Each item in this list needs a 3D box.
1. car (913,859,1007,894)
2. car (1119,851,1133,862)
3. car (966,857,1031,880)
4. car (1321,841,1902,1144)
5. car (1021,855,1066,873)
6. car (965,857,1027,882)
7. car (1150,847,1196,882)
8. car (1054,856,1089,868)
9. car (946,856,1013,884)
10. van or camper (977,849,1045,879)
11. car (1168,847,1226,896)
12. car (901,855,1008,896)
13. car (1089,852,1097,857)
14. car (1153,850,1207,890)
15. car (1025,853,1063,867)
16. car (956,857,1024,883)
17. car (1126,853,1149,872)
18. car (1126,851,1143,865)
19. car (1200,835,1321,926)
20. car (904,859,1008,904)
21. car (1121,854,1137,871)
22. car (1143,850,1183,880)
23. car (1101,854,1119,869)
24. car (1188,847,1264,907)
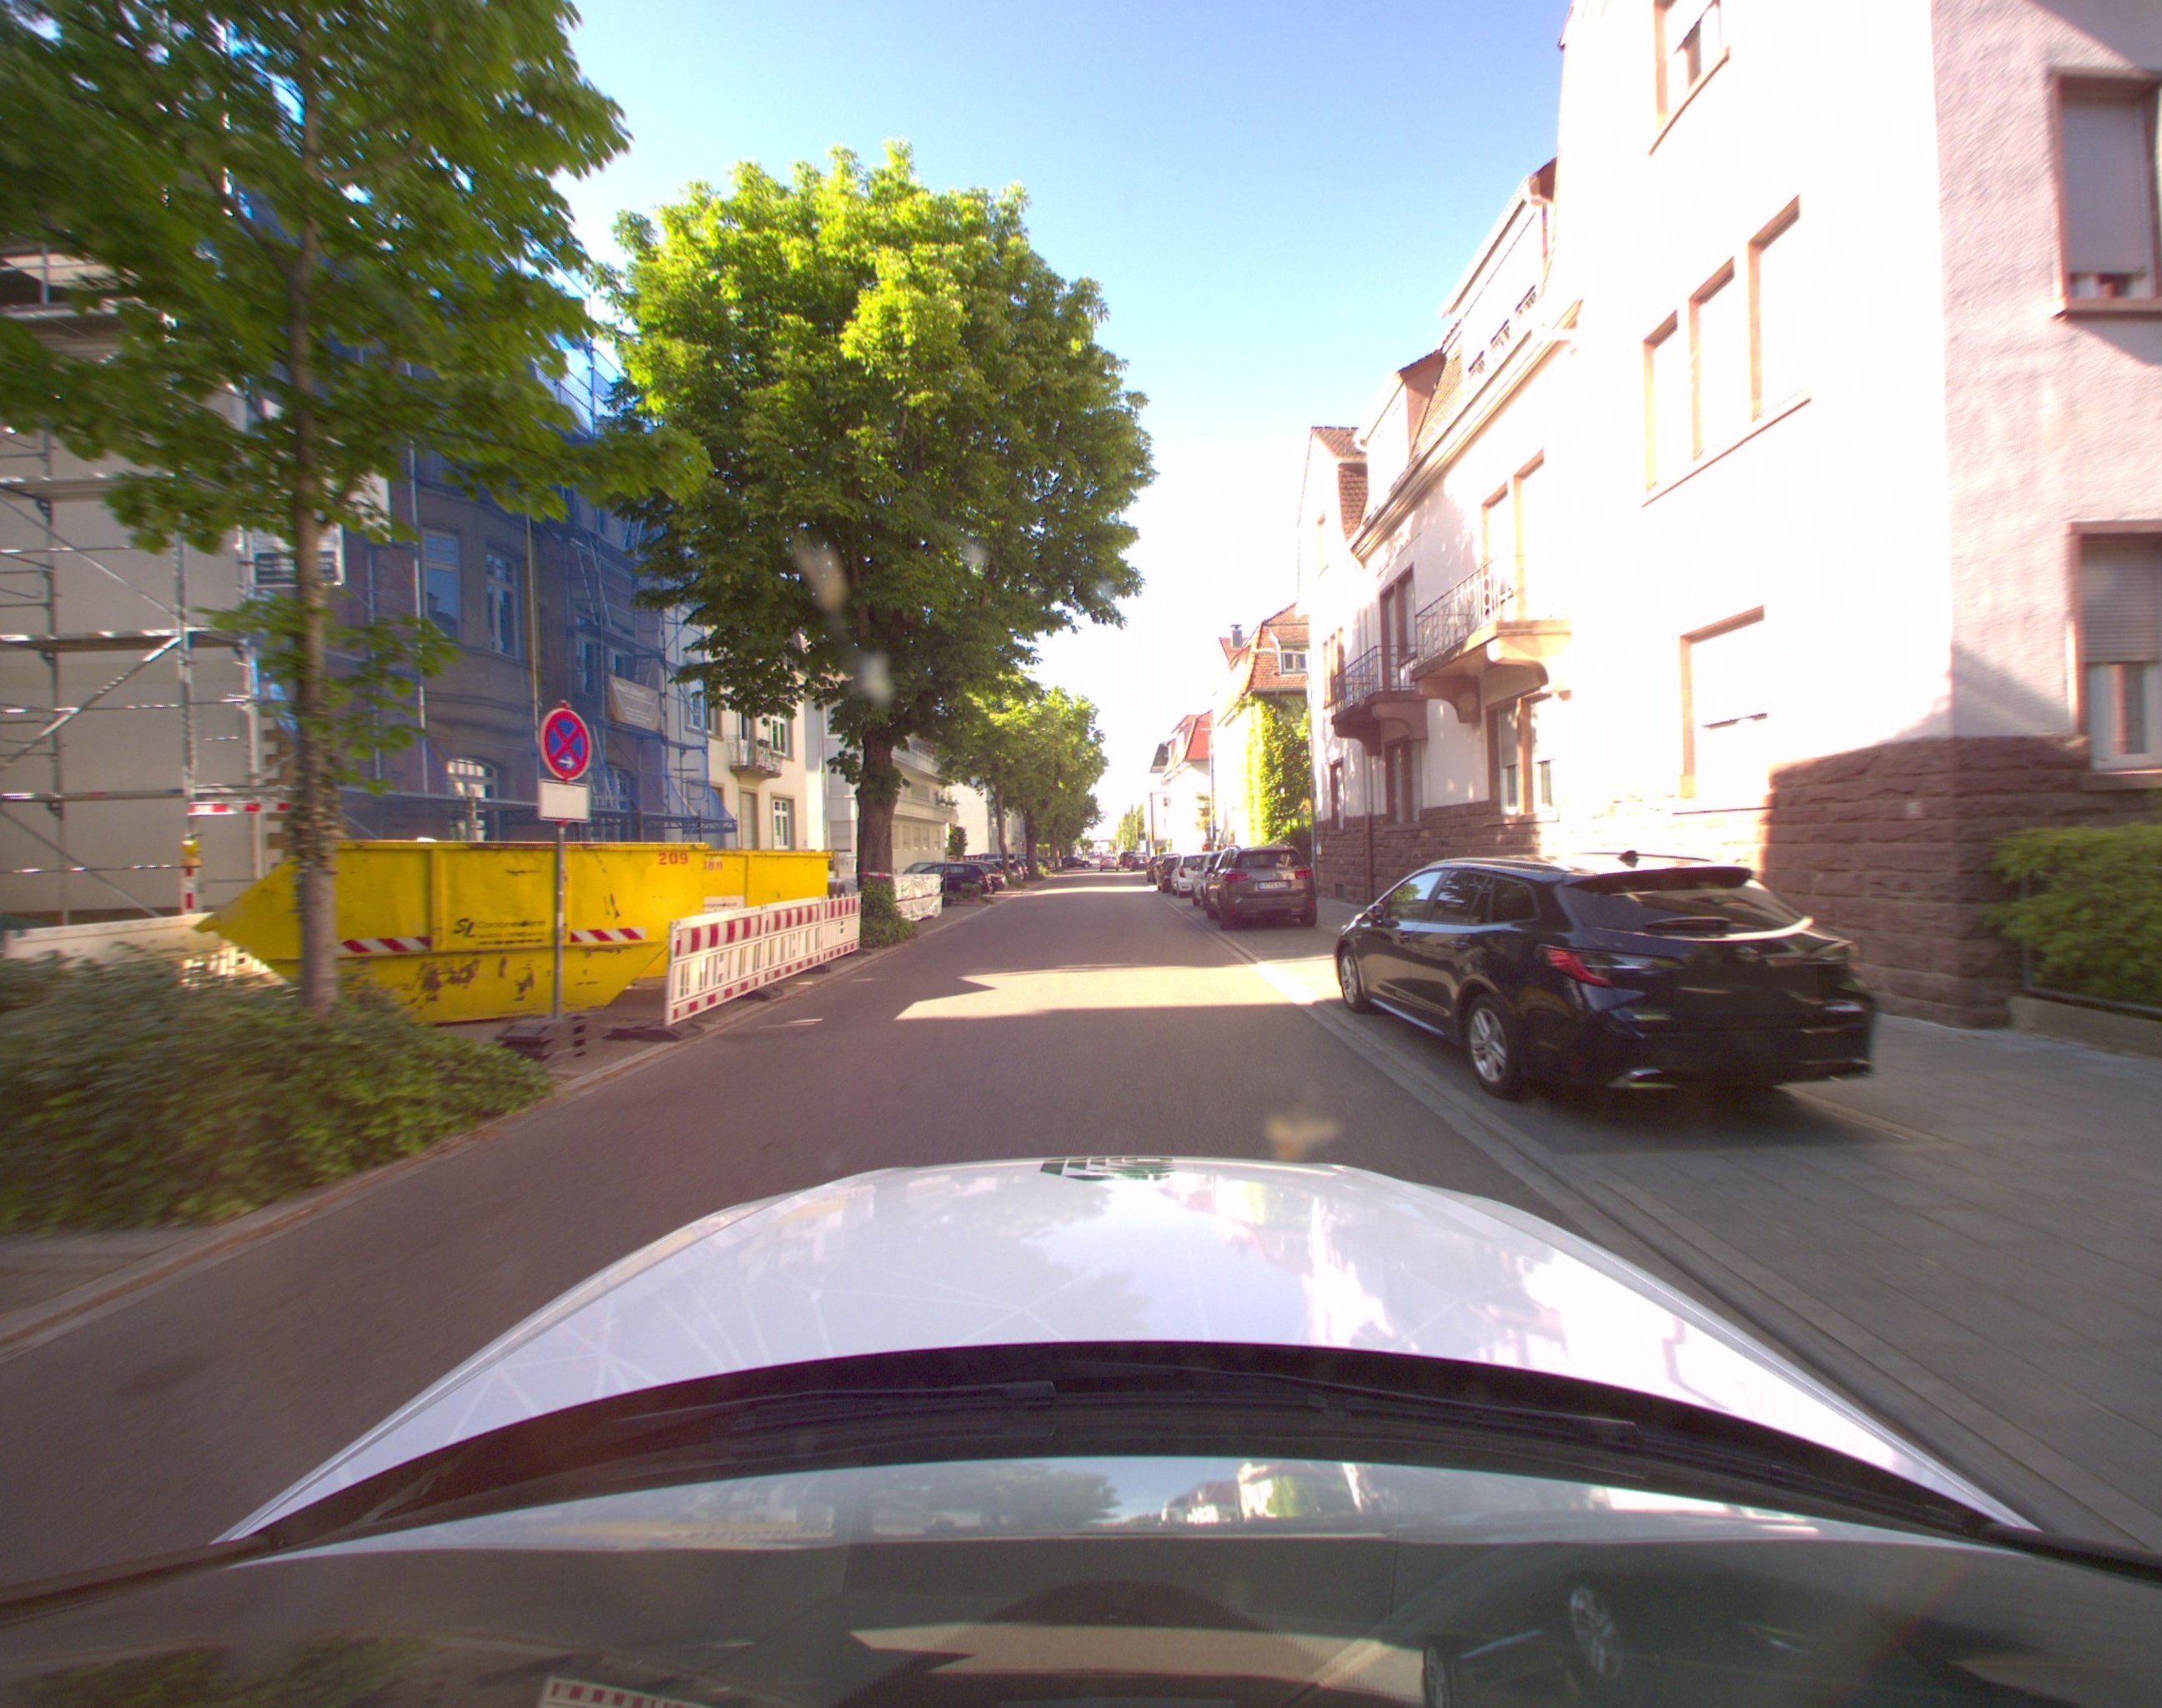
[{"bbox_3d":[-5.767,1.056,39.110,4.174,1.441,1.713,-3,0,0],"label":"car"},{"bbox_3d":[6.358,0.354,115.686,1.730,1.531,4.180,-2,0,2],"label":"car"},{"bbox_3d":[-5.201,0.915,51.472,3.910,1.414,1.715,0,1,-1],"label":"car"},{"bbox_3d":[3.261,0.680,6.252,1.637,1.454,4.505,-1,0,2],"label":"car"},{"bbox_3d":[-3.377,0.859,73.932,3.973,1.468,1.697,-2,0,0],"label":"car"},{"bbox_3d":[-5.107,0.904,49.063,3.464,1.458,1.798,0,0,2],"label":"car"},{"bbox_3d":[4.502,0.520,40.369,1.785,1.520,4.367,-3,-1,1],"label":"car"},{"bbox_3d":[-1.121,0.962,98.938,4.171,1.448,1.714,0,-1,3],"label":"car"},{"bbox_3d":[-5.449,0.857,44.054,3.471,1.420,1.708,0,-1,-4],"label":"car"},{"bbox_3d":[-4.878,0.679,56.902,4.481,1.914,1.964,-2,0,1],"label":"van or camper"},{"bbox_3d":[4.082,0.611,29.143,1.570,1.549,3.469,-3,-1,1],"label":"car"},{"bbox_3d":[-5.609,0.932,36.411,4.586,1.607,1.828,-2,0,-8],"label":"car"},{"bbox_3d":[3.418,0.168,233.392,1.784,1.532,3.994,-2,0,-4],"label":"car"},{"bbox_3d":[4.002,0.656,33.462,1.703,1.436,4.194,-4,-1,1],"label":"car"},{"bbox_3d":[-4.004,0.687,88.871,4.008,1.484,1.807,0,0,0],"label":"car"},{"bbox_3d":[-5.179,0.904,46.555,3.628,1.463,1.712,0,0,3],"label":"car"},{"bbox_3d":[4.917,0.721,71.538,1.614,1.439,3.934,-4,0,0],"label":"car"},{"bbox_3d":[5.774,0.420,88.288,1.586,1.480,3.248,-4,0,1],"label":"car"},{"bbox_3d":[3.654,0.529,17.299,1.771,1.696,4.322,0,-1,2],"label":"car"},{"bbox_3d":[-4.898,1.069,32.205,3.868,1.514,1.828,-3,0,-8],"label":"car"},{"bbox_3d":[5.915,1.053,100.675,1.864,1.905,5.201,-3,-1,3],"label":"car"},{"bbox_3d":[4.562,0.617,45.748,1.658,1.520,3.999,-3,-1,-2],"label":"car"},{"bbox_3d":[2.775,0.697,77.183,1.720,1.420,3.963,-1,0,3],"label":"car"},{"bbox_3d":[3.952,0.616,22.580,1.619,1.549,2.870,-1,-1,1],"label":"car"}]
